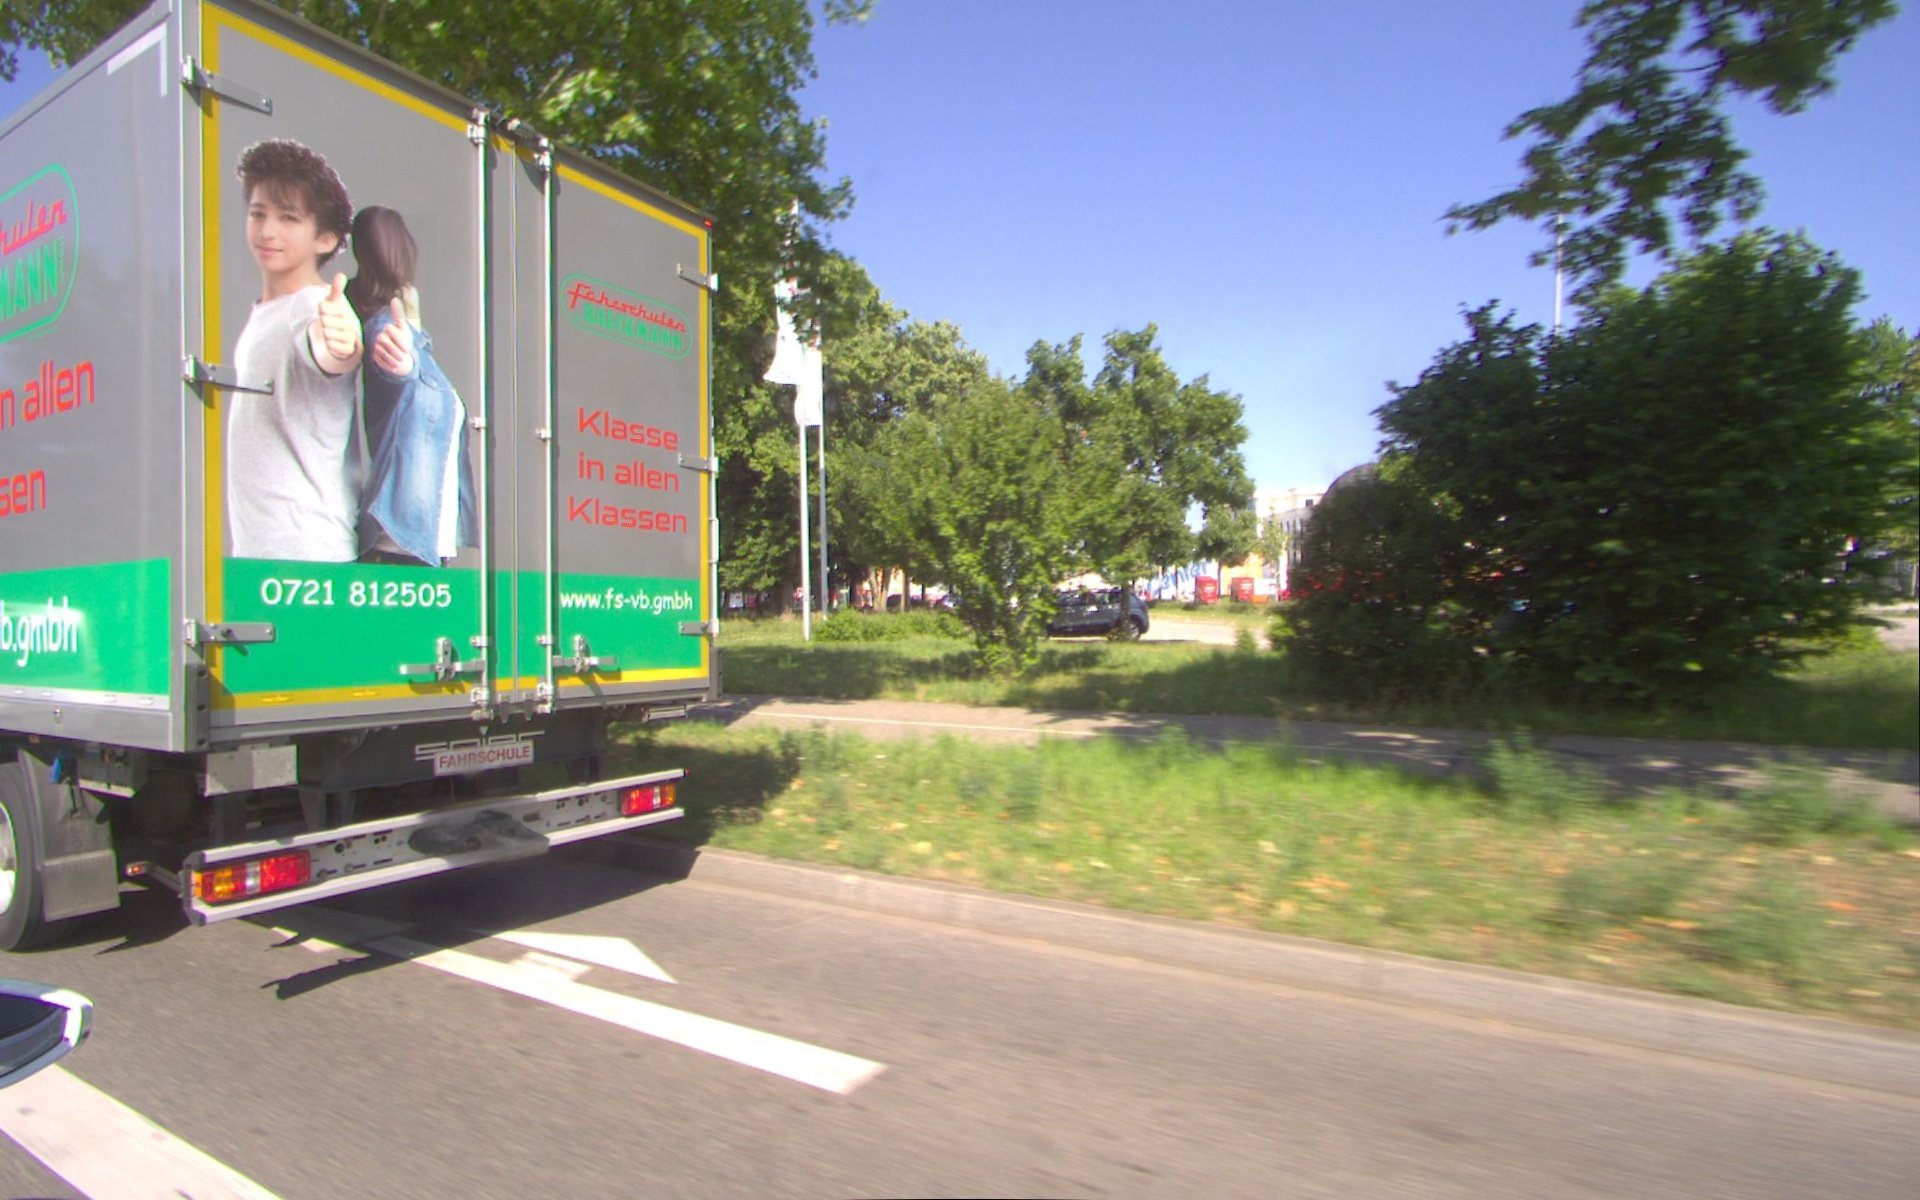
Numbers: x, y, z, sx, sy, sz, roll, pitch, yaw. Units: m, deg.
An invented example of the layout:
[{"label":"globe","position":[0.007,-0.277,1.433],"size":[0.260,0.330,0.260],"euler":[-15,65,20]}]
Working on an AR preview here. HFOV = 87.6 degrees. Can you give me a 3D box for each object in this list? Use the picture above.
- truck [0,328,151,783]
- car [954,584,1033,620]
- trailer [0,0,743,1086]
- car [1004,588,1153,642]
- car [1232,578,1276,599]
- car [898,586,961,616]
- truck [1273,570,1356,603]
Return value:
[{"label":"truck","position":[-12.066,-0.284,10.736],"size":[8.601,3.940,2.723],"euler":[-2,0,33]},{"label":"car","position":[1.742,0.119,51.128],"size":[3.922,1.705,2.001],"euler":[-1,-2,6]},{"label":"trailer","position":[-5.168,-0.313,6.424],"size":[7.626,3.928,2.730],"euler":[-1,0,33]},{"label":"car","position":[3.258,0.437,28.112],"size":[3.922,1.438,1.907],"euler":[0,-2,-1]},{"label":"car","position":[30.687,-1.191,104.693],"size":[3.925,2.039,1.999],"euler":[0,-1,-10]},{"label":"car","position":[-1.955,0.082,65.657],"size":[3.922,1.861,2.001],"euler":[-1,-1,6]},{"label":"truck","position":[27.056,-1.006,76.537],"size":[5.669,2.443,2.001],"euler":[0,-1,-3]}]
